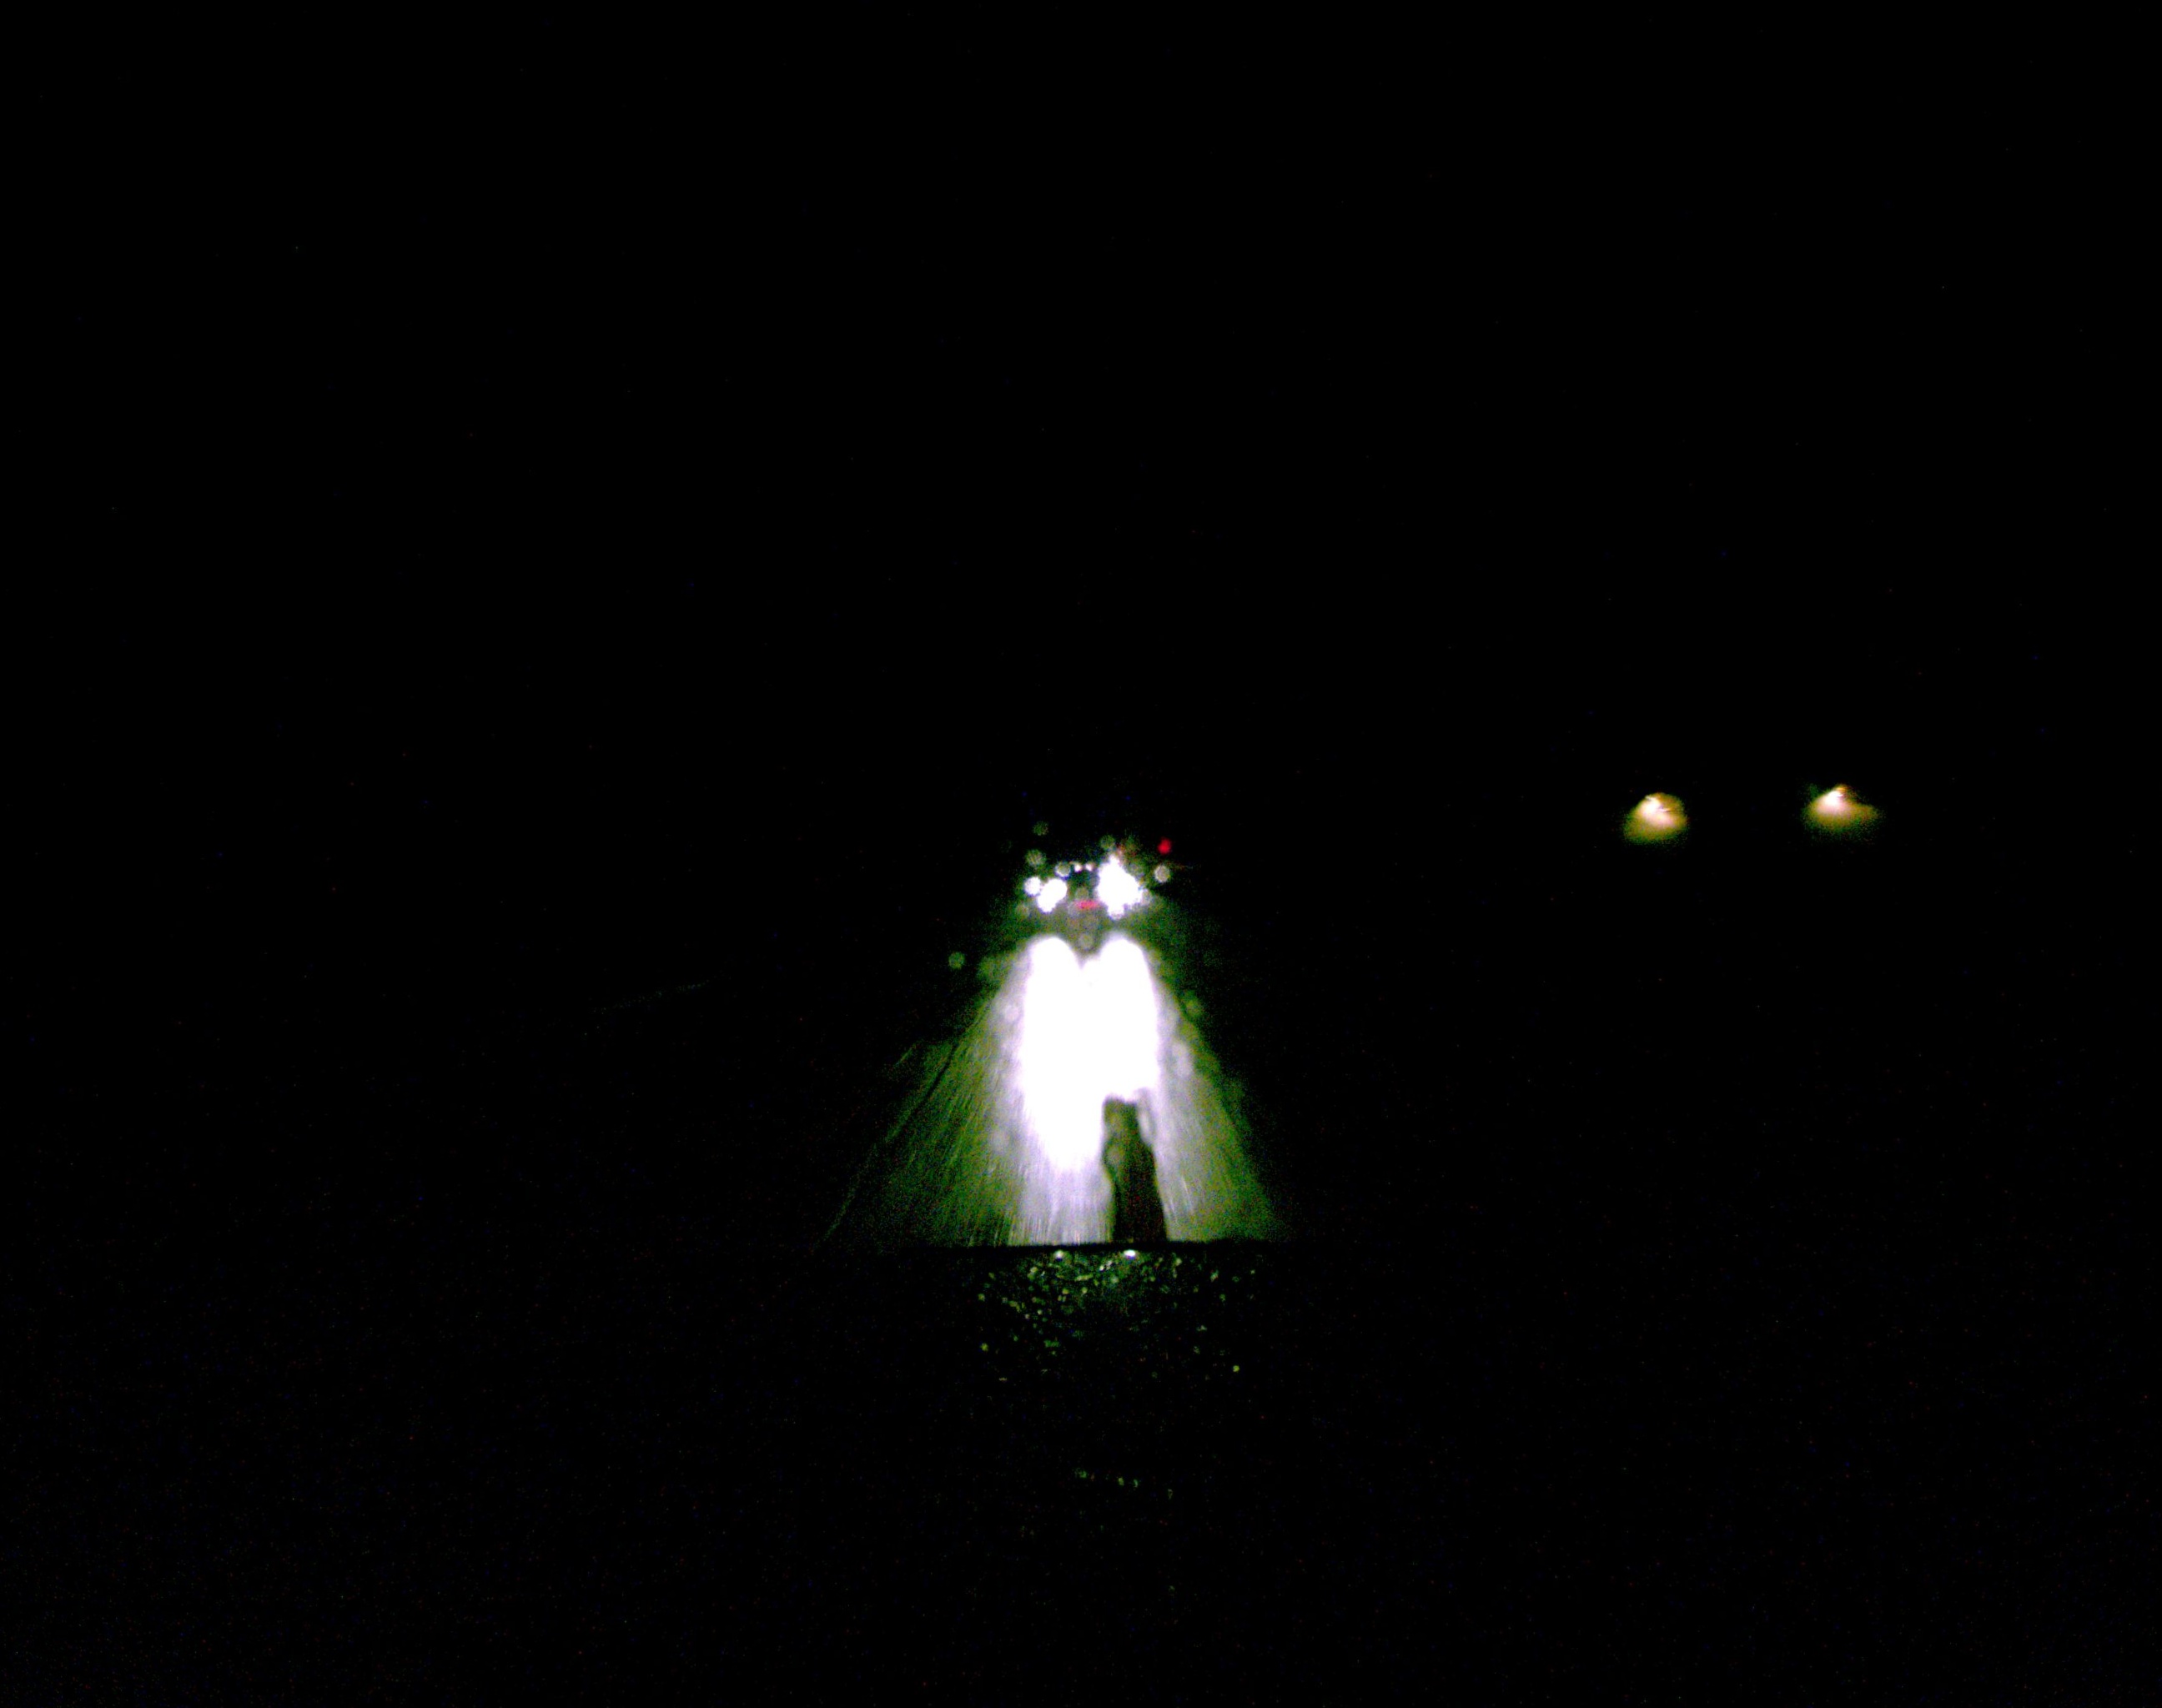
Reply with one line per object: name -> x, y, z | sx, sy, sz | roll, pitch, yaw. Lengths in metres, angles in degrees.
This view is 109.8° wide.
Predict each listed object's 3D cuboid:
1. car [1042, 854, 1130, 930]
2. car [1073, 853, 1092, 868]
car -> 0.139, 0.823, 18.377 | 1.846, 1.565, 4.000 | -2, 0, 1
car -> 0.185, 0.691, 81.821 | 1.846, 1.565, 4.000 | -2, 0, 1
